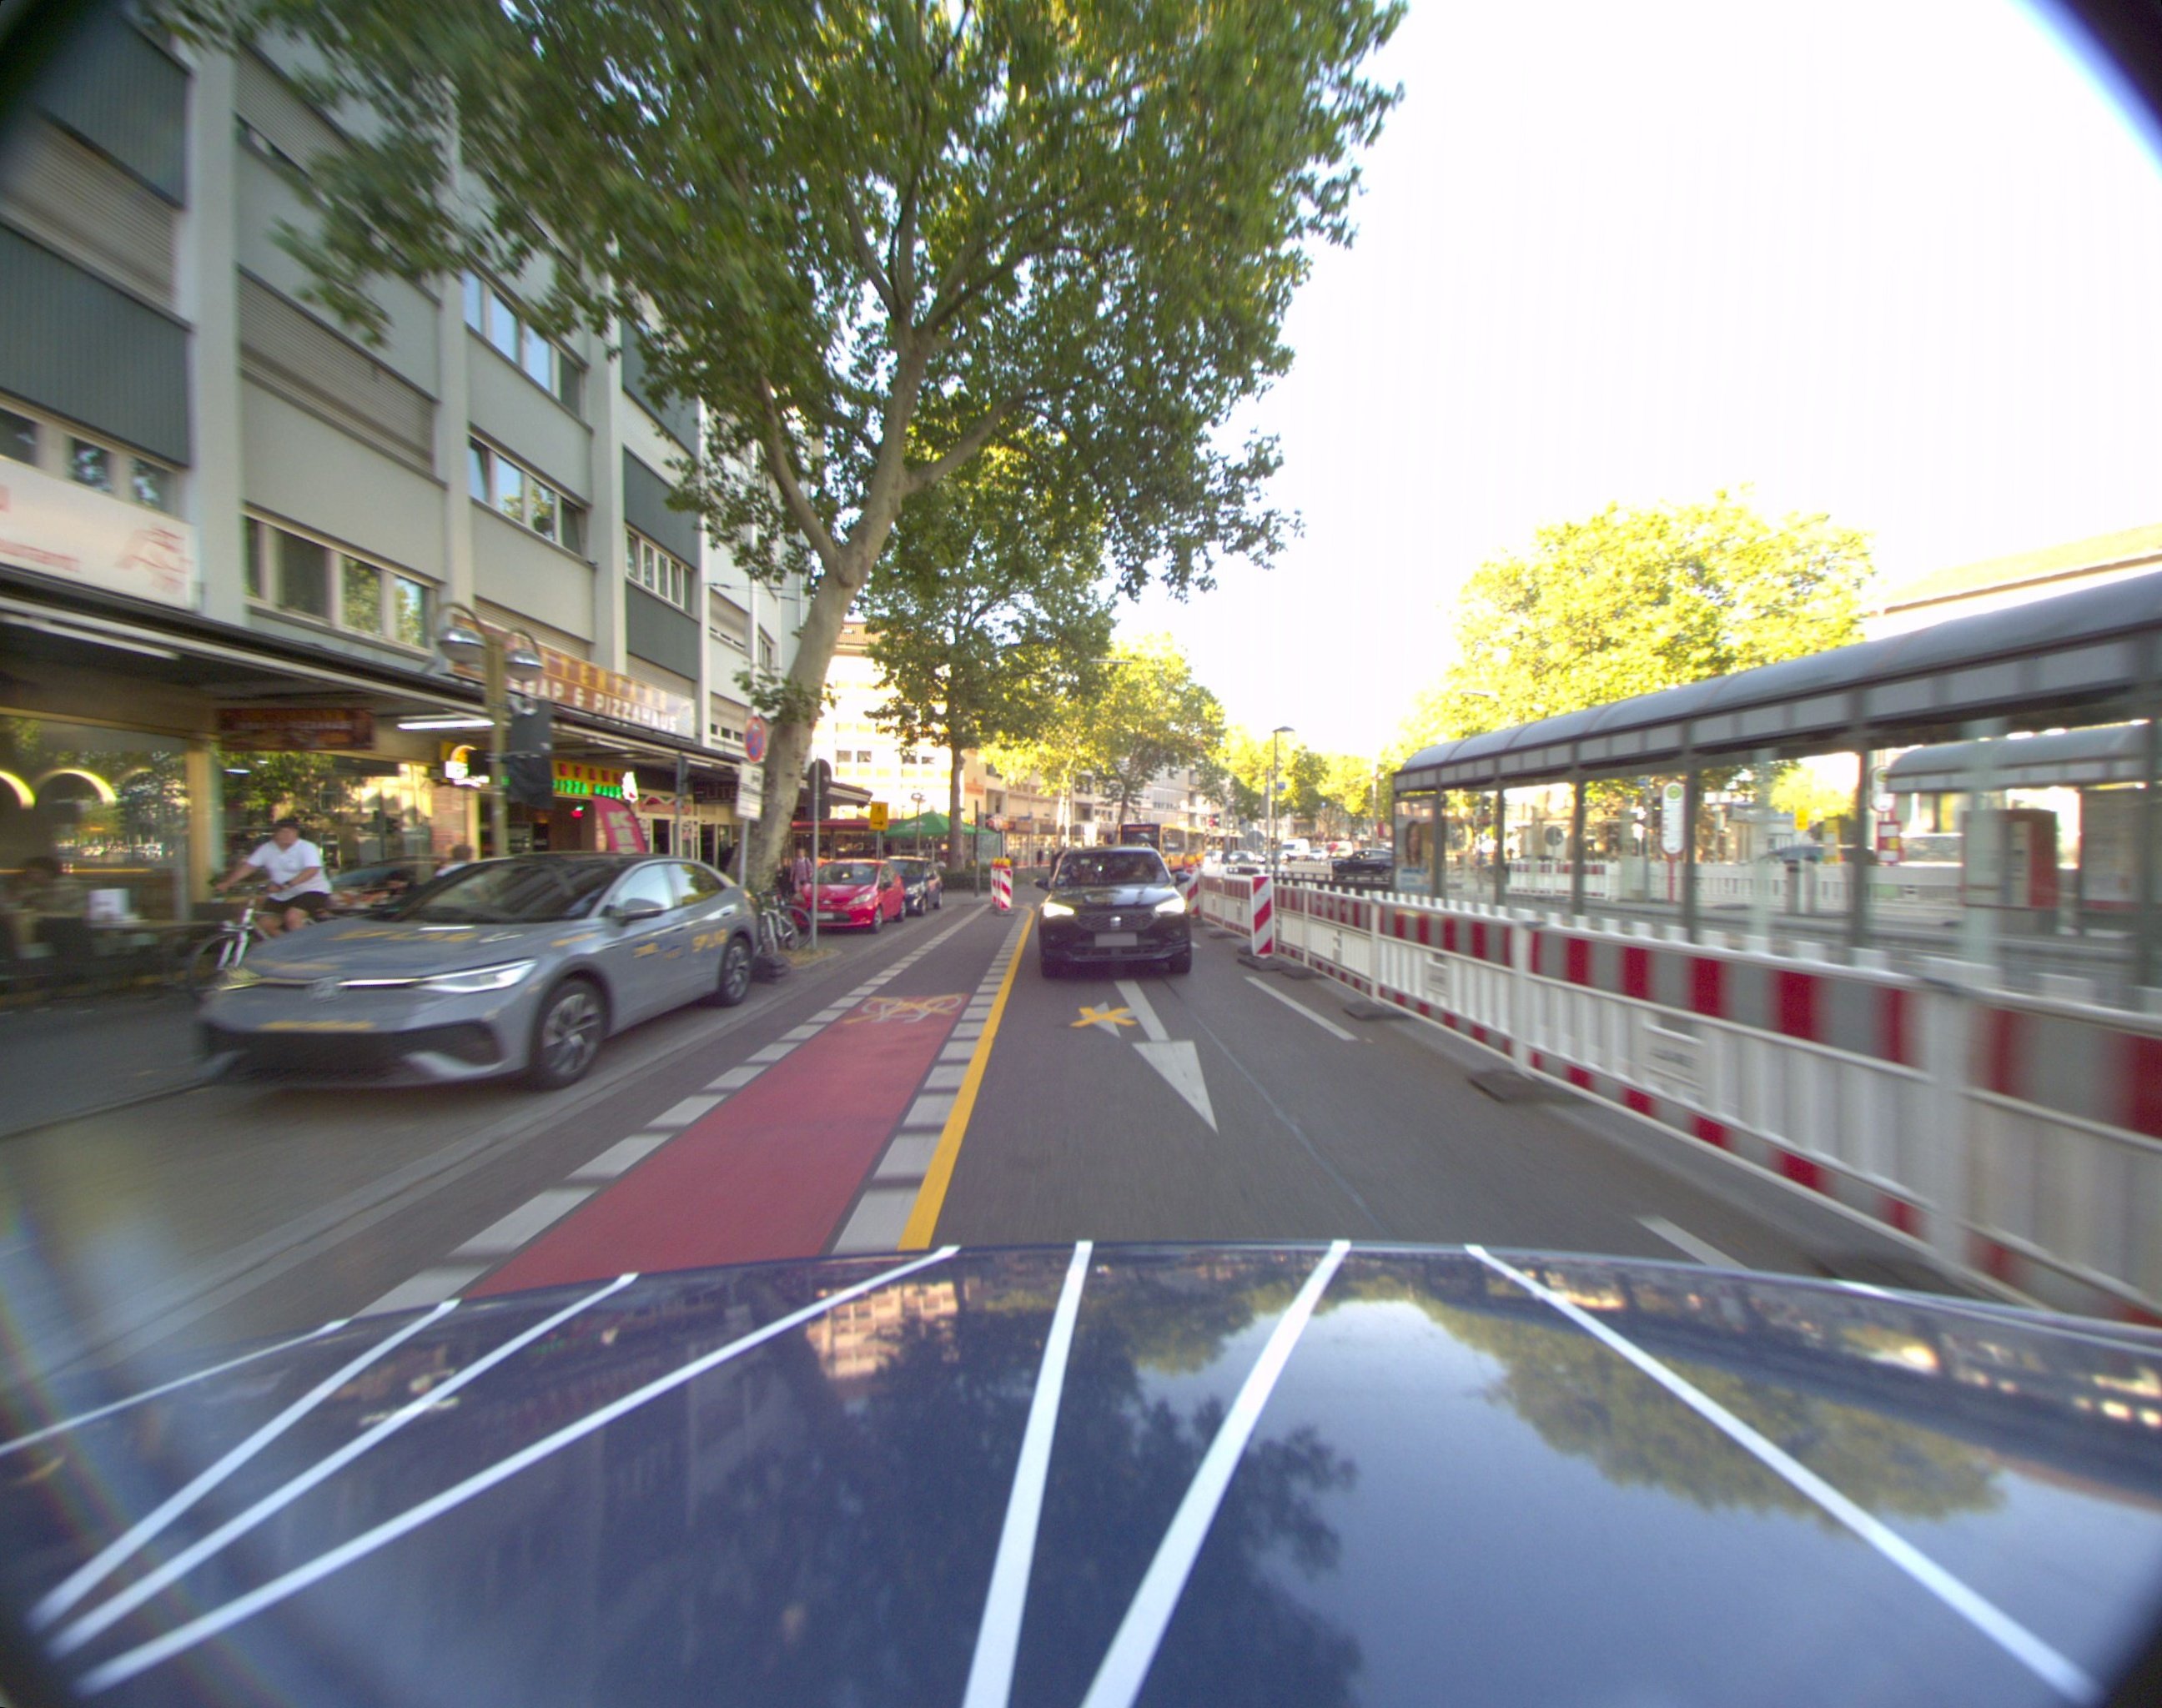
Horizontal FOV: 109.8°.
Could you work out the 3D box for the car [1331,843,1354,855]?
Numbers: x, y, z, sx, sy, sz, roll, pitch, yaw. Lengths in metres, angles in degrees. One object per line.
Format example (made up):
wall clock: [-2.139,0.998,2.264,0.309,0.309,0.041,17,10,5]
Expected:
car: [35.541,-0.731,103.235,1.994,1.586,4.008,0,0,35]

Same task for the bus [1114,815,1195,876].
bus: [4.894,-0.508,47.523,2.735,3.188,12.321,-2,0,16]

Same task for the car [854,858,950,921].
car: [-4.706,0.878,20.483,1.659,1.471,3.801,1,0,0]

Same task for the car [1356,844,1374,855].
car: [42.598,-0.750,113.846,1.702,1.578,3.714,0,1,34]

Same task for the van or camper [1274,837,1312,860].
van or camper: [24.298,-0.674,87.058,2.285,2.524,5.506,0,1,37]

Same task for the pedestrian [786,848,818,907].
pedestrian: [-7.501,0.630,20.448,0.584,1.551,0.642,1,1,2]

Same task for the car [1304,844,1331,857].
car: [29.312,-0.435,94.122,1.994,1.587,4.008,0,1,36]

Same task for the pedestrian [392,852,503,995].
pedestrian: [-7.265,0.768,8.744,0.710,1.576,0.678,1,1,-1]

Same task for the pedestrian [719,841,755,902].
pedestrian: [-9.897,0.491,21.878,0.710,1.699,0.678,-1,1,0]

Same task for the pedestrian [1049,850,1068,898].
pedestrian: [-0.743,0.665,25.345,0.623,1.551,0.471,-1,1,-1]

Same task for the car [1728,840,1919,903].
car: [23.359,0.485,24.145,1.999,1.805,3.998,-1,1,-5]

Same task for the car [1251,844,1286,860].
car: [19.561,-0.255,79.220,1.994,1.587,4.570,0,1,36]

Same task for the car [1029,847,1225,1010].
car: [0.465,0.763,10.027,1.999,1.638,4.203,-2,1,-1]

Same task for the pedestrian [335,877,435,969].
pedestrian: [-9.290,0.902,10.165,0.677,1.170,0.710,0,1,0]

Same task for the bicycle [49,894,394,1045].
bicycle: [-8.108,1.011,7.396,0.778,1.097,2.267,2,1,0]

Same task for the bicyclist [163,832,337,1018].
bicyclist: [-8.099,0.660,7.448,0.771,1.699,0.829,2,1,0]

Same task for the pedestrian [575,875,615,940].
pedestrian: [-8.856,0.960,13.845,0.520,1.127,0.507,0,1,-21]

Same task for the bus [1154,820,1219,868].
bus: [8.436,-0.754,59.016,2.734,3.188,12.378,-2,0,18]

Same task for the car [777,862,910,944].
car: [-4.869,0.935,16.138,1.735,1.434,3.983,1,0,-3]

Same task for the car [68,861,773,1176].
car: [-4.461,0.901,6.434,1.923,1.588,4.789,1,0,-3]

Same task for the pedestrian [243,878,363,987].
pedestrian: [-9.278,0.912,9.091,0.677,1.220,0.710,0,1,-2]

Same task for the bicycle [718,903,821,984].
bicycle: [-4.379,1.224,10.841,0.625,0.879,2.039,1,1,0]

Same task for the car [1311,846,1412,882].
car: [14.330,0.488,38.897,4.424,1.638,2.004,2,1,35]

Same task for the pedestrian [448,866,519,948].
pedestrian: [-9.452,0.826,12.039,0.646,1.258,0.606,0,1,0]

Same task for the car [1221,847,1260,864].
car: [15.381,0.111,73.059,1.994,1.587,4.571,0,1,36]

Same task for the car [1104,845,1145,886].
car: [1.873,0.438,32.177,1.610,1.618,3.679,-1,1,5]
